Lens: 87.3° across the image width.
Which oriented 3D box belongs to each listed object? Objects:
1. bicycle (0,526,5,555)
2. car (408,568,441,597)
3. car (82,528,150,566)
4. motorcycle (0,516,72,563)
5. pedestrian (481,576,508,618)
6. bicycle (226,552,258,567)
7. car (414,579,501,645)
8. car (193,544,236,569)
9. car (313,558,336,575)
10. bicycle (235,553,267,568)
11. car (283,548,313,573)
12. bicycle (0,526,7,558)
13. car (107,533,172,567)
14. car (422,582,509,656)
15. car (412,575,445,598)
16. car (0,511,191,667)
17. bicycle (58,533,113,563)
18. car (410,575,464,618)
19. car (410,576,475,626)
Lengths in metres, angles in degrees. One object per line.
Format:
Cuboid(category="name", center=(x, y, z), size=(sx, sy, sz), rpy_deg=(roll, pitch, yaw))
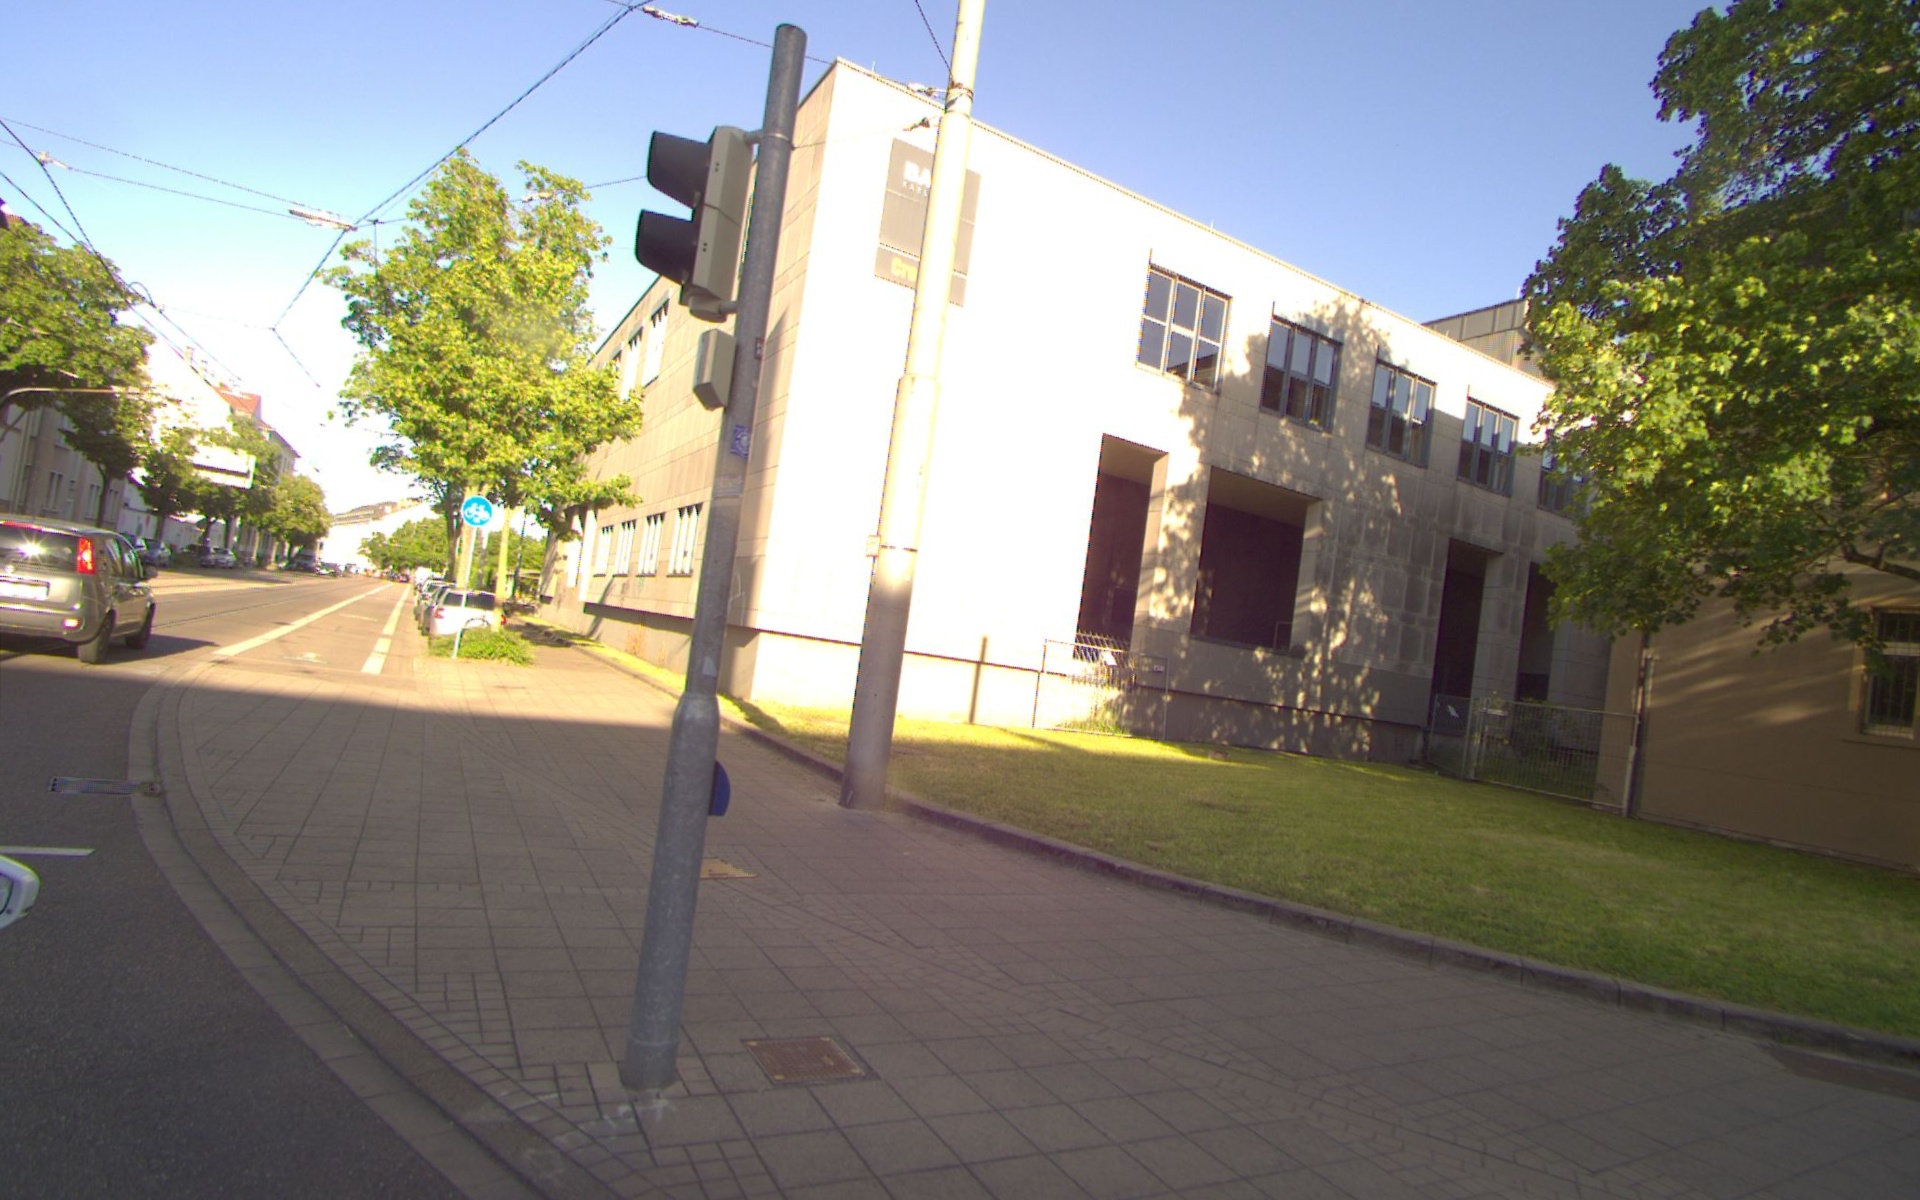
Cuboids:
Cuboid(category="bicycle", center=(-31.686, -1.986, 32.089), size=(0.450, 1.055, 1.613), rpy_deg=(6, -4, 29))
Cuboid(category="car", center=(-42.579, -1.422, 79.925), size=(1.942, 1.926, 4.157), rpy_deg=(9, -3, -30))
Cuboid(category="car", center=(-41.601, -2.566, 49.699), size=(1.785, 1.502, 3.970), rpy_deg=(9, -3, -31))
Cuboid(category="motorcycle", center=(-36.334, -2.338, 39.487), size=(1.448, 1.498, 3.079), rpy_deg=(9, -3, -30))
Cuboid(category="pedestrian", center=(-24.157, -0.148, 52.213), size=(0.961, 2.036, 1.018), rpy_deg=(8, -2, -28))
Cuboid(category="bicycle", center=(-62.613, -3.566, 87.700), size=(2.223, 0.941, 0.792), rpy_deg=(8, -2, 6))
Cuboid(category="car", center=(-14.788, 0.302, 29.450), size=(1.827, 1.506, 4.608), rpy_deg=(9, -3, -30))
Cuboid(category="car", center=(-54.905, -3.175, 74.188), size=(1.942, 1.435, 4.157), rpy_deg=(9, -3, -30))
Cuboid(category="car", center=(-67.949, -3.546, 107.565), size=(1.769, 1.508, 4.157), rpy_deg=(10, -3, -30))
Cuboid(category="bicycle", center=(-62.529, -3.502, 88.756), size=(2.281, 0.941, 0.792), rpy_deg=(8, -2, 6))
Cuboid(category="car", center=(-79.734, -4.759, 121.295), size=(2.316, 2.598, 5.632), rpy_deg=(9, -3, -29))
Cuboid(category="bicycle", center=(-32.900, -2.086, 33.391), size=(0.438, 1.044, 1.707), rpy_deg=(6, -5, 40))
Cuboid(category="car", center=(-44.167, -2.674, 54.227), size=(1.942, 1.435, 4.157), rpy_deg=(9, -3, -30))
Cuboid(category="car", center=(-12.395, 0.422, 25.088), size=(1.629, 1.471, 3.888), rpy_deg=(9, -3, -28))
Cuboid(category="car", center=(-40.045, -1.033, 75.770), size=(1.901, 1.391, 4.157), rpy_deg=(9, -3, -30))
Cuboid(category="car", center=(-10.969, -0.183, 12.287), size=(1.718, 1.517, 3.974), rpy_deg=(9, -4, -28))
Cuboid(category="bicycle", center=(-40.036, -2.372, 46.061), size=(0.601, 1.034, 1.745), rpy_deg=(5, -5, 41))
Cuboid(category="car", center=(-21.926, -0.192, 42.087), size=(1.733, 1.474, 4.587), rpy_deg=(9, -3, -28))
Cuboid(category="car", center=(-19.044, -0.008, 36.945), size=(1.809, 1.480, 4.128), rpy_deg=(9, -3, -29))
